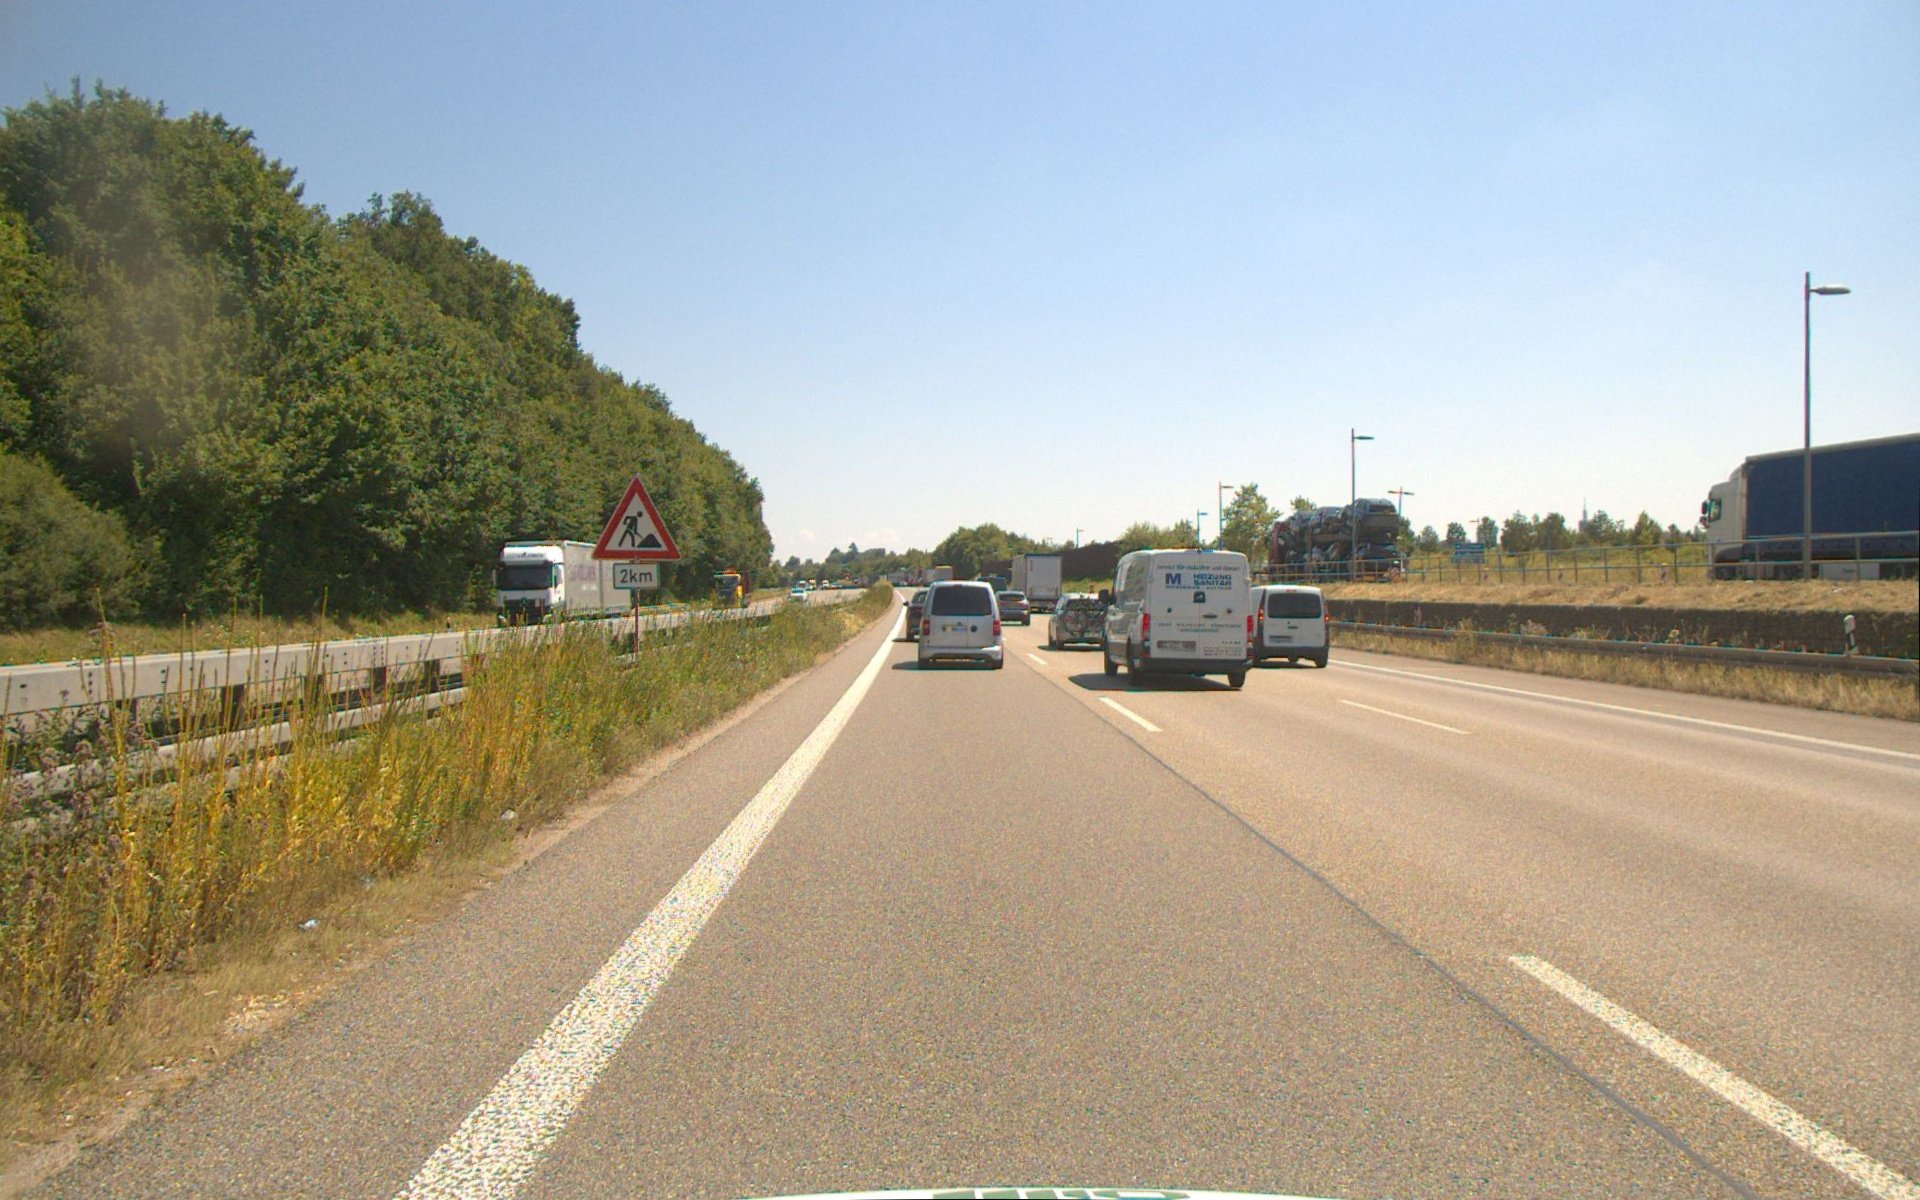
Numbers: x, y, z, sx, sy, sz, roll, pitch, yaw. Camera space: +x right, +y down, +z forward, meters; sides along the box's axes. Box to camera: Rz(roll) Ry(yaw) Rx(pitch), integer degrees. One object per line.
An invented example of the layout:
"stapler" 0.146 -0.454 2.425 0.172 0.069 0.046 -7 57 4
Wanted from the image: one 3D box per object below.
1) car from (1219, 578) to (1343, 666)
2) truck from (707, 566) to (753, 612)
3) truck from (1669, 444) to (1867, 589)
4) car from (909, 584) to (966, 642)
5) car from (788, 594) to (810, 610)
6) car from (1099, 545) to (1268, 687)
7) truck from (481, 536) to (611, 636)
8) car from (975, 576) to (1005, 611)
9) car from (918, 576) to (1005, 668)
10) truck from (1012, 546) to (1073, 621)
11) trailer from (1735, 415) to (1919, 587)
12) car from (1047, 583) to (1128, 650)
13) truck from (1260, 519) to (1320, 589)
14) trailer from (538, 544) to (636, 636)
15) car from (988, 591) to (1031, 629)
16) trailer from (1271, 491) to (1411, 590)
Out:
"car" 7.337 0.489 38.165 1.911 1.870 4.176 -1 0 -2
"truck" -20.097 -0.909 145.280 2.726 3.804 11.153 1 0 -2
"truck" 25.358 -2.503 52.264 2.990 4.154 6.396 1 0 -1
"car" -0.675 0.406 52.413 1.709 1.731 4.088 -1 0 1
"car" -17.442 0.211 179.236 1.953 1.699 5.609 -2 0 -2
"car" 3.877 0.279 29.705 2.138 2.293 5.361 1 0 -2
"truck" -18.294 -0.583 73.929 3.384 4.064 11.118 -1 0 -3
"car" 1.715 -0.348 95.613 1.640 1.925 4.088 -1 0 0
"car" 0.045 0.448 35.121 1.709 1.795 4.088 -1 0 0
"truck" 5.866 -1.087 119.918 3.710 5.087 12.518 1 0 0
"trailer" 25.553 -2.540 43.866 2.990 4.154 14.253 1 0 -1
"car" 3.525 0.444 46.306 1.935 1.763 4.088 -1 0 0
"truck" 19.226 -2.631 96.443 2.549 3.894 3.999 1 0 -2
"trailer" -18.682 -0.444 83.450 3.384 4.354 7.966 1 0 -3
"car" 2.308 0.473 77.556 1.863 1.701 4.088 -1 0 0
"trailer" 19.463 -2.829 86.096 2.553 4.332 18.415 1 0 -1
